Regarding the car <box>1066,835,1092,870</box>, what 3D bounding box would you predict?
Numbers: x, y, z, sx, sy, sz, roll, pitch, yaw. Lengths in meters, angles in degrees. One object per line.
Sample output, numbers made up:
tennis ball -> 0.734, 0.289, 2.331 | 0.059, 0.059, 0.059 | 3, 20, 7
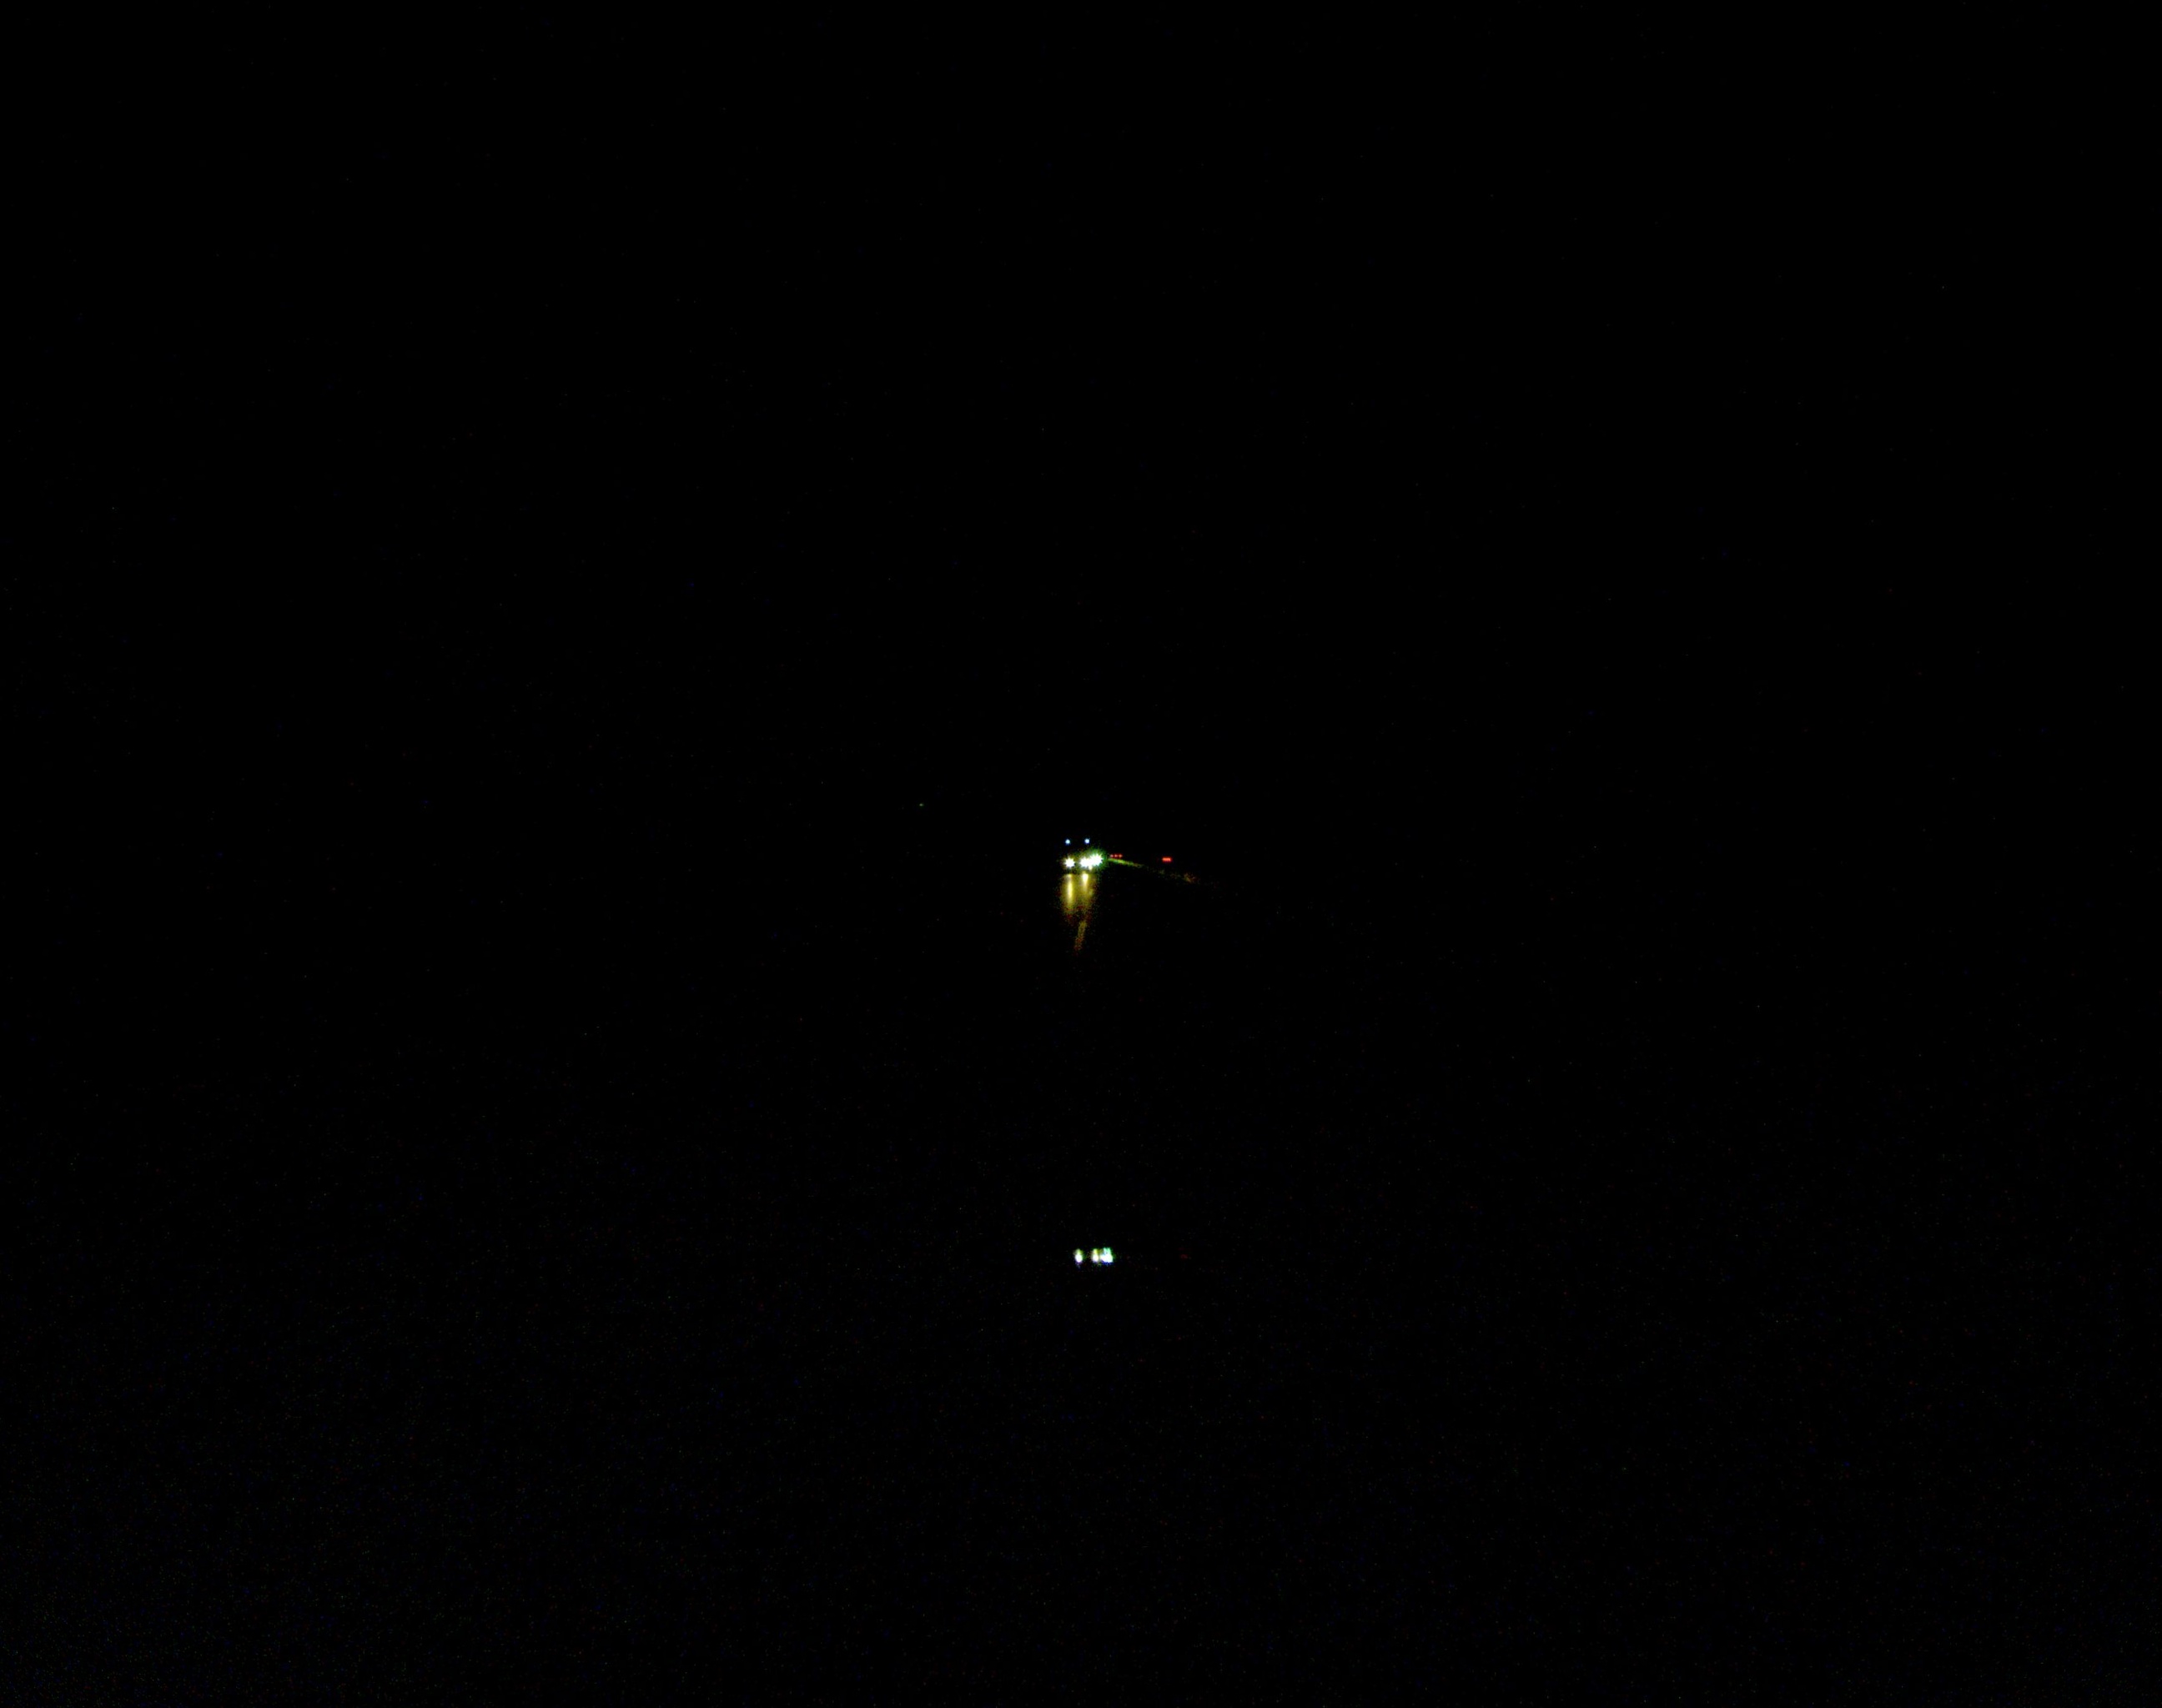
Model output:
car -> -0.178, -0.167, 74.797 | 2.255, 3.205, 6.878 | -2, 0, 1

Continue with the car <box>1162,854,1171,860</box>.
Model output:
car -> 22.323, 0.750, 197.760 | 1.968, 1.529, 5.185 | 0, 0, 2

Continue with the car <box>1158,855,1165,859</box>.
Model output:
car -> 24.713, 0.840, 234.012 | 1.908, 1.275, 4.350 | 0, 0, 2
